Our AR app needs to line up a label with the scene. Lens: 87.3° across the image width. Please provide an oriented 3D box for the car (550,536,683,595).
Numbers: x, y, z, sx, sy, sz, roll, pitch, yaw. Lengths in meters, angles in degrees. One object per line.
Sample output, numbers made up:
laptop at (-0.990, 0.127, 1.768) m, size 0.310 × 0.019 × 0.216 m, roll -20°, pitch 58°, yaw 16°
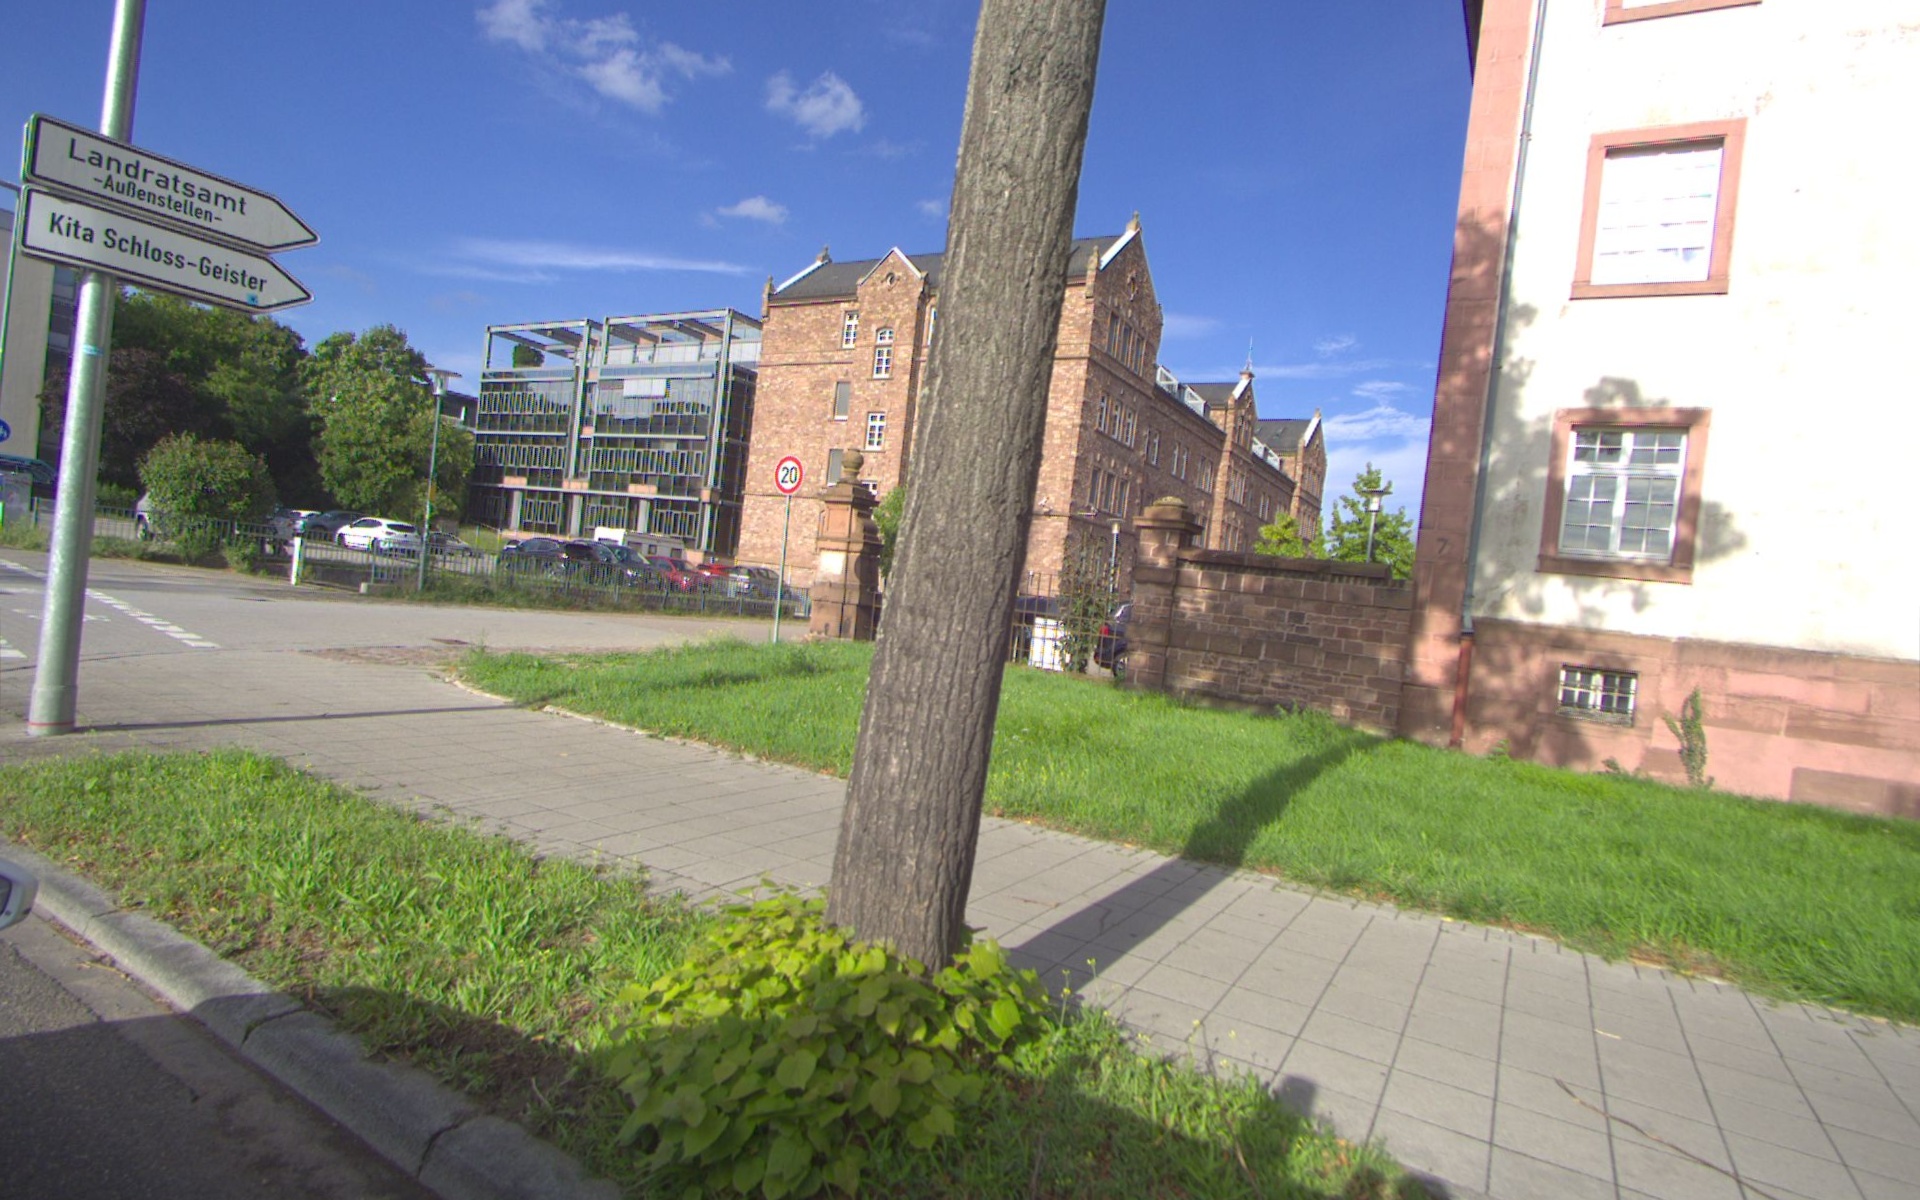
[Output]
car at (-12.973, -1.306, 37.930) m, size 4.717 × 1.766 × 1.853 m, roll 6°, pitch 2°, yaw 26°

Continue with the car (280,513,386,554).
car at (-31.333, -3.315, 50.358) m, size 1.966 × 1.505 × 3.991 m, roll 7°, pitch 1°, yaw 29°

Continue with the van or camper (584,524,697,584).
van or camper at (-17.033, -2.423, 53.927) m, size 2.551 × 2.589 × 5.246 m, roll 7°, pitch 1°, yaw 29°

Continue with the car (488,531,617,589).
car at (-14.435, -1.424, 35.578) m, size 4.531 × 1.610 × 1.851 m, roll 6°, pitch 2°, yaw 32°

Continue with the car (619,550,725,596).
car at (-11.618, -1.097, 40.543) m, size 3.888 × 1.282 × 1.712 m, roll 9°, pitch 3°, yaw 26°

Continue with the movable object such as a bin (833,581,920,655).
movable object such as a bin at (-1.573, 0.354, 19.199) m, size 1.074 × 1.246 × 1.193 m, roll 7°, pitch 0°, yaw 27°

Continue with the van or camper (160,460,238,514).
van or camper at (-47.827, -7.097, 63.187) m, size 5.038 × 2.914 × 2.327 m, roll 7°, pitch 4°, yaw 33°

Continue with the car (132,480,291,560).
car at (-20.214, -2.164, 27.135) m, size 4.082 × 1.687 × 1.995 m, roll 7°, pitch 1°, yaw 31°

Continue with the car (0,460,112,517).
car at (-33.922, -4.131, 36.443) m, size 1.968 × 1.642 × 4.449 m, roll 7°, pitch 1°, yaw 34°

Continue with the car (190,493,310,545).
car at (-26.404, -2.999, 37.405) m, size 3.930 × 1.461 × 1.996 m, roll 7°, pitch 1°, yaw 28°

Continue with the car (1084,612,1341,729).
car at (4.984, 1.319, 20.076) m, size 4.432 × 1.629 × 1.993 m, roll 7°, pitch 2°, yaw 33°

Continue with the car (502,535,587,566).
car at (-24.592, -2.907, 59.656) m, size 1.783 × 1.398 × 4.312 m, roll 7°, pitch 3°, yaw 38°

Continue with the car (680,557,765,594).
car at (-12.275, -1.241, 52.250) m, size 1.966 × 1.460 × 3.990 m, roll 7°, pitch 1°, yaw 30°

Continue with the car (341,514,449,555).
car at (-26.972, -3.096, 48.123) m, size 1.969 × 1.326 × 3.989 m, roll 6°, pitch -1°, yaw 35°

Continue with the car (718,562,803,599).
car at (-10.073, -0.946, 50.930) m, size 1.966 × 1.460 × 3.990 m, roll 7°, pitch 1°, yaw 30°

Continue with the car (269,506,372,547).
car at (-33.118, -3.788, 52.231) m, size 1.966 × 1.616 × 3.991 m, roll 7°, pitch 1°, yaw 29°

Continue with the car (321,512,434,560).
car at (-23.865, -2.622, 41.218) m, size 3.927 × 1.461 × 1.998 m, roll 7°, pitch 1°, yaw 23°

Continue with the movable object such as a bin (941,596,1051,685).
movable object such as a bin at (0.699, 0.782, 19.259) m, size 1.517 × 1.477 × 1.416 m, roll 7°, pitch 0°, yaw 27°

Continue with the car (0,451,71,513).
car at (-39.518, -4.987, 41.290) m, size 1.968 × 2.214 × 4.120 m, roll 7°, pitch 1°, yaw 34°

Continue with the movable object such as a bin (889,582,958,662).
movable object such as a bin at (-0.715, 0.444, 19.927) m, size 0.926 × 1.441 × 0.831 m, roll 7°, pitch 1°, yaw 27°
